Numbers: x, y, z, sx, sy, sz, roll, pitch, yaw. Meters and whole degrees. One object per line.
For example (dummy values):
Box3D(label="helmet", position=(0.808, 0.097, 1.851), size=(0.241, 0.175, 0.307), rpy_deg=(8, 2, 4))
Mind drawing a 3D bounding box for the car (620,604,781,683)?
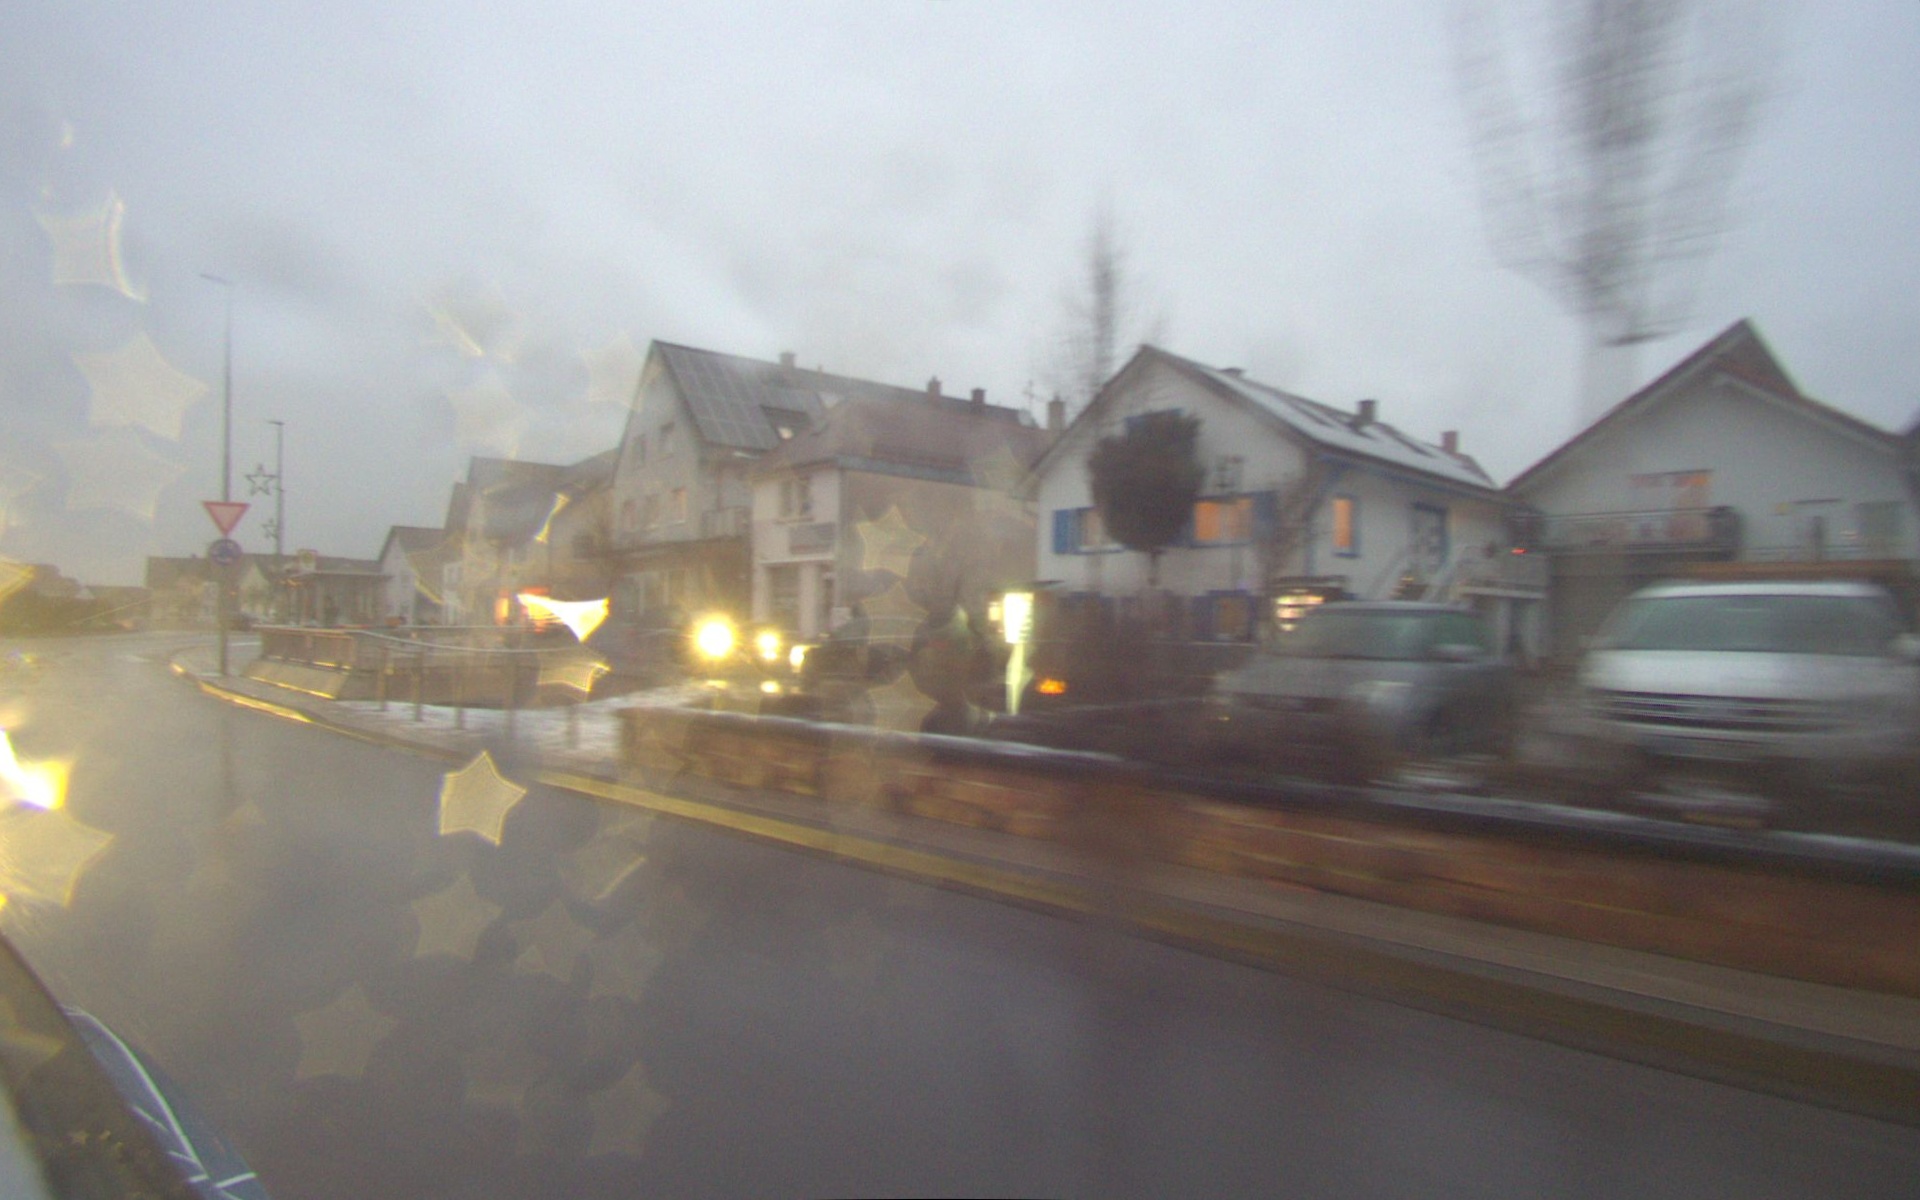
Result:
Box3D(label="car", position=(-6.282, 1.041, 24.193), size=(1.734, 1.714, 4.569), rpy_deg=(4, -4, -43))

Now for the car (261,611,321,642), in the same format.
Box3D(label="car", position=(-47.866, 1.887, 72.405), size=(3.953, 2.028, 1.908), rpy_deg=(1, 2, 28))

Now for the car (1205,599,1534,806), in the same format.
Box3D(label="car", position=(3.605, 0.717, 8.600), size=(1.600, 1.383, 3.409), rpy_deg=(-2, -2, 40))

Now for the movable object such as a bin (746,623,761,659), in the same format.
Box3D(label="movable object such as a bin", position=(-6.856, 1.364, 33.598), size=(0.284, 1.151, 0.454), rpy_deg=(-1, 2, -44))

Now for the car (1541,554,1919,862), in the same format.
Box3D(label="car", position=(5.458, 0.540, 6.992), size=(1.715, 1.534, 3.752), rpy_deg=(0, 0, 43))

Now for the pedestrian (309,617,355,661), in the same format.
Box3D(label="pedestrian", position=(-17.524, 1.091, 28.257), size=(0.976, 1.167, 0.903), rpy_deg=(0, -2, -40))

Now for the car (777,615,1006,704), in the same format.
Box3D(label="car", position=(-1.421, 1.090, 19.411), size=(4.572, 1.494, 1.782), rpy_deg=(-2, -3, 44))

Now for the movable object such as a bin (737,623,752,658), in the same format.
Box3D(label="movable object such as a bin", position=(-7.248, 1.366, 34.050), size=(0.284, 1.129, 0.454), rpy_deg=(-1, 2, -44))

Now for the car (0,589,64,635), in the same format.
Box3D(label="car", position=(-44.160, 0.516, 47.750), size=(2.024, 2.001, 4.551), rpy_deg=(0, 2, -32))

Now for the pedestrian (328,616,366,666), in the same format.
Box3D(label="pedestrian", position=(-16.187, 1.070, 26.724), size=(0.677, 1.281, 0.751), rpy_deg=(-1, -1, -44))

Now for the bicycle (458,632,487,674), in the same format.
Box3D(label="bicycle", position=(-12.585, 1.349, 26.128), size=(0.463, 1.017, 1.744), rpy_deg=(1, -1, -32))

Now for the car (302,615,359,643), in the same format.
Box3D(label="car", position=(-46.387, 2.122, 74.610), size=(3.854, 1.895, 1.918), rpy_deg=(1, 2, 28))

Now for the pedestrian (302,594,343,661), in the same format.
Box3D(label="pedestrian", position=(-17.011, 0.727, 26.995), size=(0.687, 1.755, 0.740), rpy_deg=(-2, -1, 41))

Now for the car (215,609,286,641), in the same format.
Box3D(label="car", position=(-49.102, 1.712, 70.057), size=(3.963, 2.010, 1.963), rpy_deg=(1, 1, 15))

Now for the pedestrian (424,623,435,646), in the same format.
Box3D(label="pedestrian", position=(-37.462, 2.417, 71.407), size=(0.574, 1.623, 0.500), rpy_deg=(-1, 2, -44))

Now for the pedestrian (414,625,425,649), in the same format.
Box3D(label="pedestrian", position=(-37.678, 2.593, 70.536), size=(0.574, 1.623, 0.500), rpy_deg=(-1, 2, -44))

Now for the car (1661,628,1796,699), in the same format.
Box3D(label="car", position=(18.818, 1.484, 24.737), size=(3.882, 1.507, 1.921), rpy_deg=(1, 0, -42))
